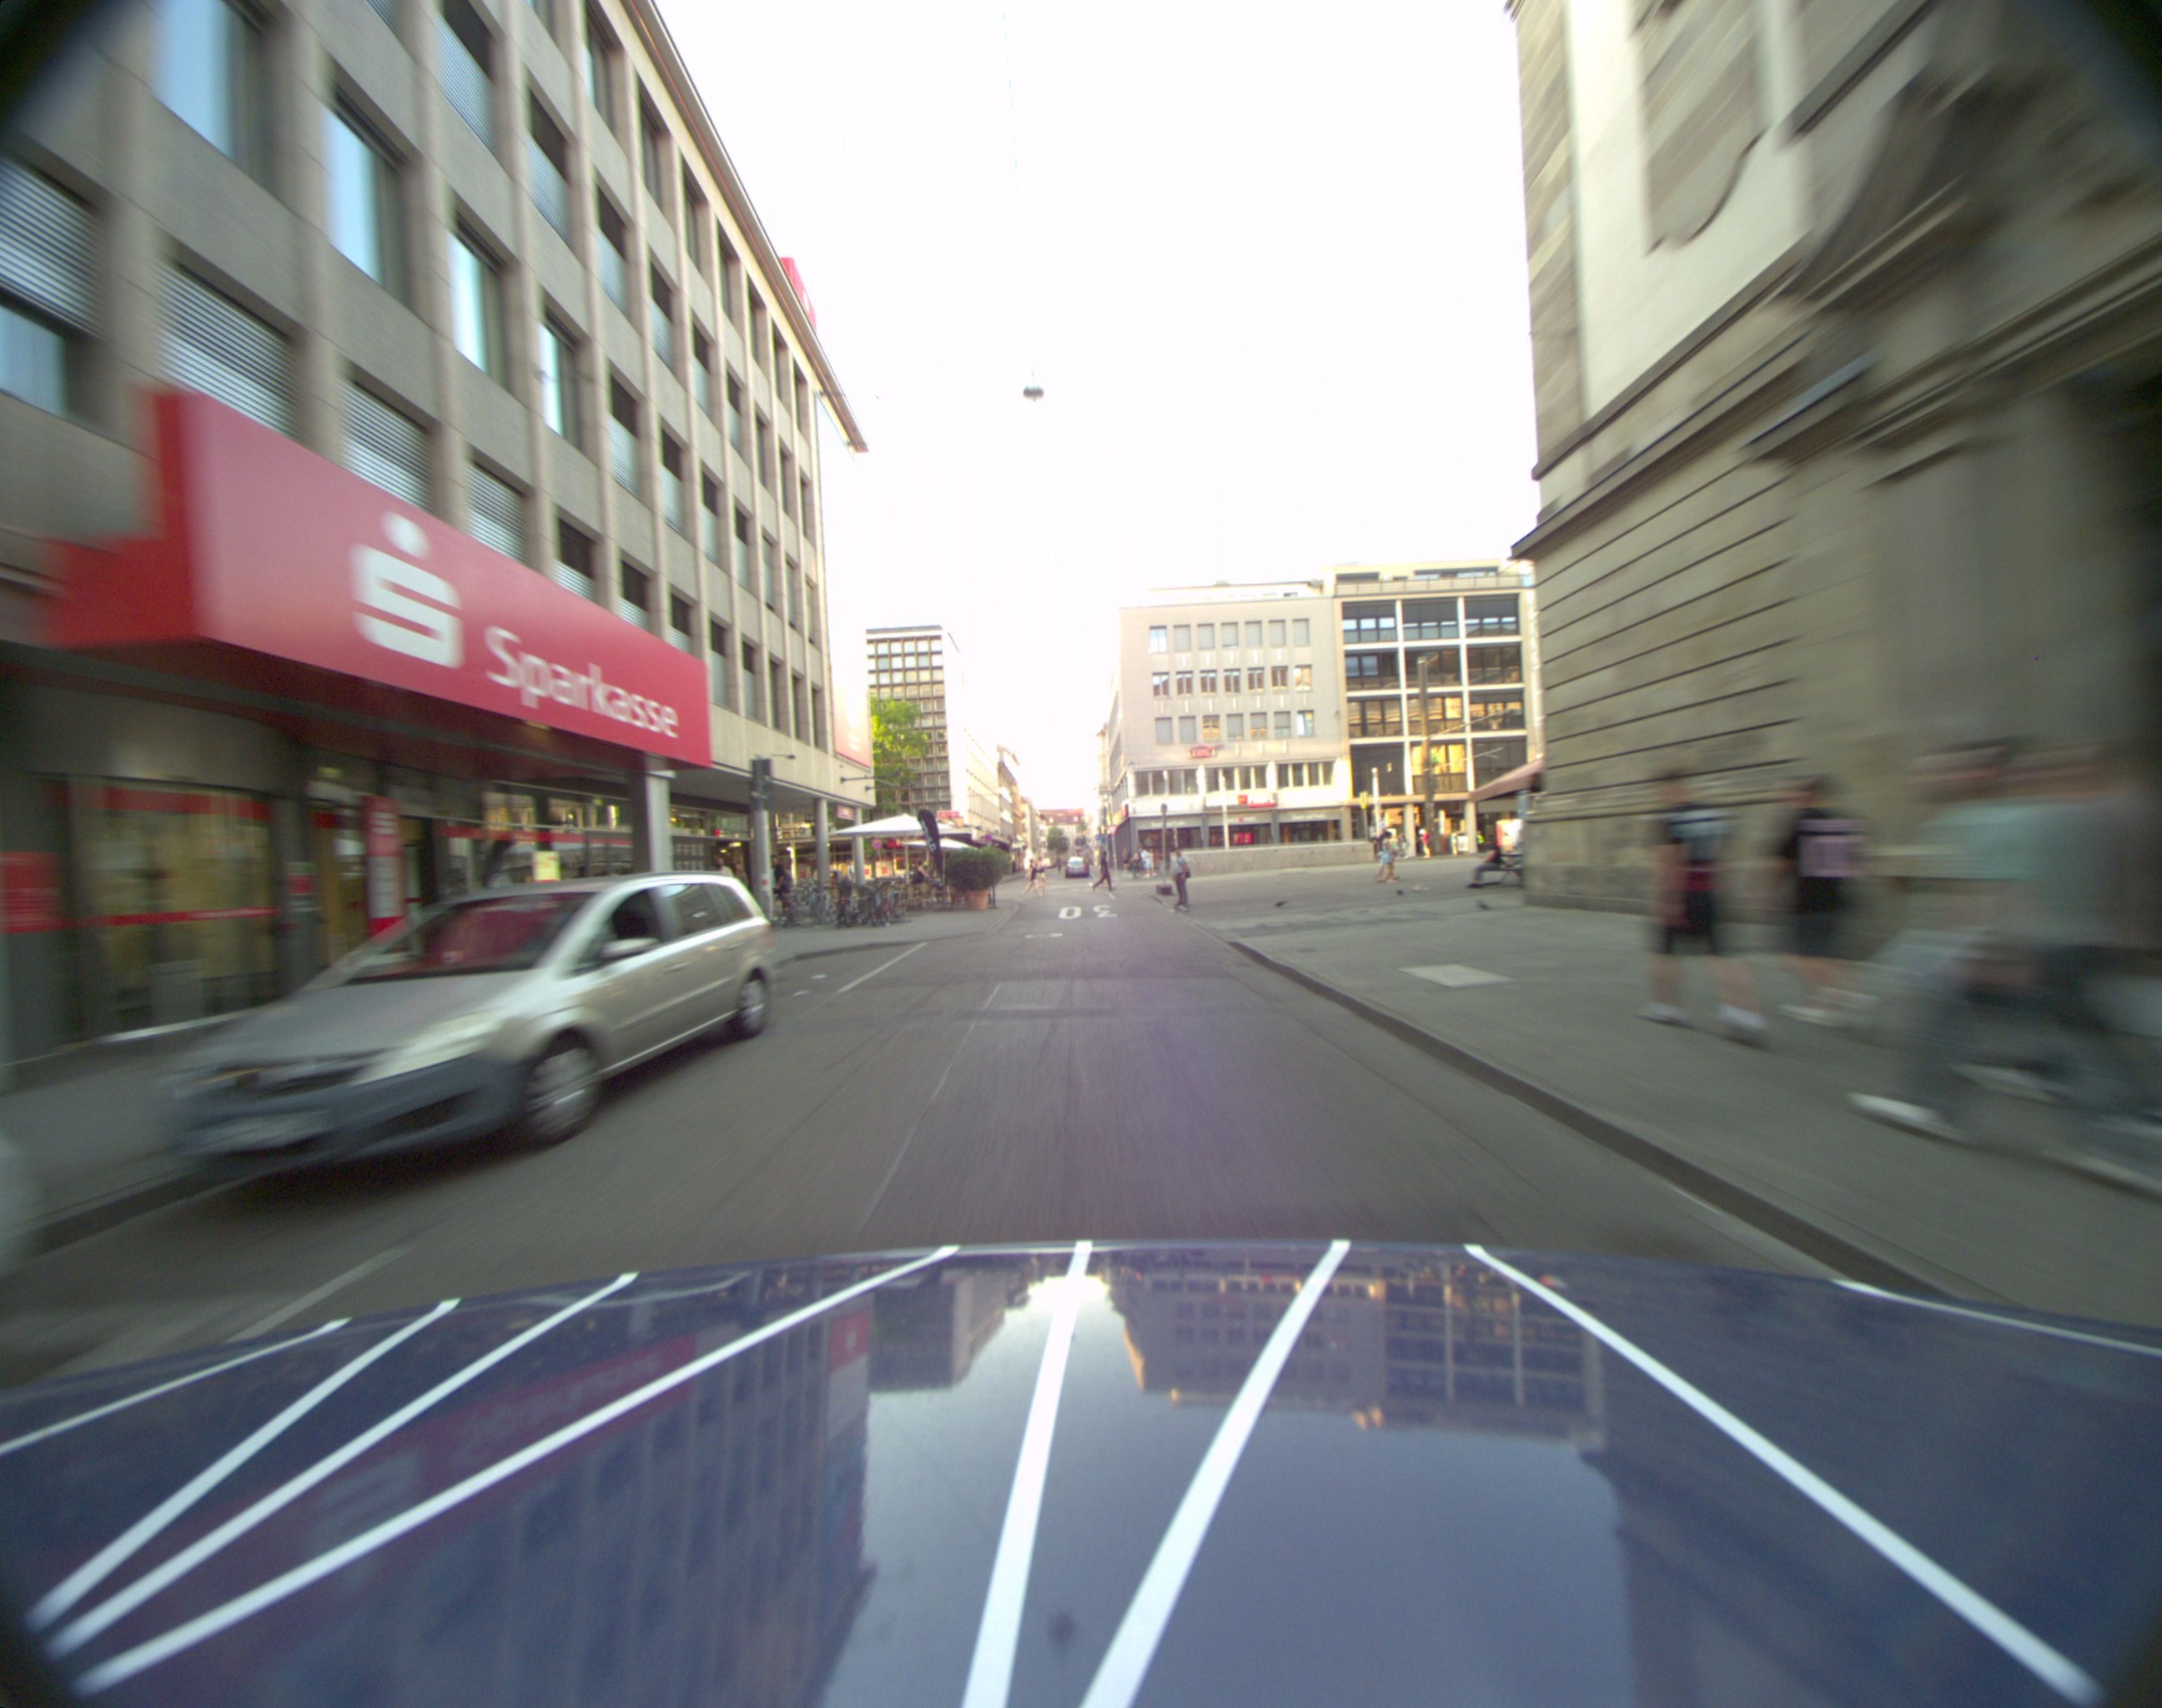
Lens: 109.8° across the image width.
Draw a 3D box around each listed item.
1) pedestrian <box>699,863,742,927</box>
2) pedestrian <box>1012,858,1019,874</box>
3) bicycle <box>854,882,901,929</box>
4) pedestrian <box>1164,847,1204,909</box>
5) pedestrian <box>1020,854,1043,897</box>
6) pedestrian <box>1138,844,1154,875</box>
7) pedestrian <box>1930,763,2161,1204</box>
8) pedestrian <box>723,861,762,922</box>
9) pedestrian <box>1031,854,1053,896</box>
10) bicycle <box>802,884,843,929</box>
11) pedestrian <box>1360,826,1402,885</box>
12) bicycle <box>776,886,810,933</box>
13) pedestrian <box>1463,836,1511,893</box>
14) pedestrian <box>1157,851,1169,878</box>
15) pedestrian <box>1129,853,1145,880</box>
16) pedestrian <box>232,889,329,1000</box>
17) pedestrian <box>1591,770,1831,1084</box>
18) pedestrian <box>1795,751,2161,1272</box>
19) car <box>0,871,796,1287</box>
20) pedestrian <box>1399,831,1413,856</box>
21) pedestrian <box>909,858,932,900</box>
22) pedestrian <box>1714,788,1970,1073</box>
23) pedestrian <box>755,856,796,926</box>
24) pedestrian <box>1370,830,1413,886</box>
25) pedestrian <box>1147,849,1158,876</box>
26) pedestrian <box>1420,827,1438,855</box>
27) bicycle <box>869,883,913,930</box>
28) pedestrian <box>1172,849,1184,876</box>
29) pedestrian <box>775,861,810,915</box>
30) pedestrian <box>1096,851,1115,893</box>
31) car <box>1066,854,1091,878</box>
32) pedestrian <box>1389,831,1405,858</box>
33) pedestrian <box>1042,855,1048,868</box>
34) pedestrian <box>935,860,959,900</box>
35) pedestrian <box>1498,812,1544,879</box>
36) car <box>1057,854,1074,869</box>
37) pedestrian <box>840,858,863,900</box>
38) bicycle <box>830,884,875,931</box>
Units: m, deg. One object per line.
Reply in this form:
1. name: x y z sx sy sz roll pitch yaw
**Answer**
1. pedestrian: -10.160 1.137 21.429 0.799 1.751 0.687 -2 0 -3
2. pedestrian: -7.053 1.318 81.746 0.650 1.652 0.650 -4 1 -1
3. bicycle: -5.011 1.248 18.785 0.383 1.027 1.865 -2 0 8
4. pedestrian: 2.869 0.658 21.184 0.754 1.649 0.742 -3 0 -36
5. pedestrian: -1.978 0.874 30.580 0.796 1.679 0.769 -2 0 2
6. pedestrian: 3.991 0.326 46.604 0.783 1.881 0.642 -3 1 -1
7. pedestrian: 4.409 0.471 3.123 0.731 1.658 0.858 -6 0 2
8. pedestrian: -10.041 1.093 22.567 0.799 1.751 0.687 -3 0 -4
9. pedestrian: -1.600 0.845 31.349 0.796 1.679 0.769 -2 0 2
10. bicycle: -6.698 1.334 19.759 0.383 1.027 1.864 -2 0 0
11. pedestrian: 9.353 0.046 23.719 0.862 1.751 0.745 -5 1 -5
12. bicycle: -7.102 1.347 18.802 0.383 1.027 1.862 -3 0 -10
13. pedestrian: 9.726 0.241 18.239 0.778 1.267 0.787 -6 0 16
14. pedestrian: 5.265 0.687 48.774 0.546 1.698 0.558 -4 1 0
15. pedestrian: 3.257 0.737 44.054 0.676 1.532 0.641 -3 1 -12
16. pedestrian: -12.844 1.427 12.218 0.691 1.651 0.729 -4 1 -12
17. pedestrian: 4.051 0.439 4.973 0.718 1.819 0.870 -6 1 7
18. pedestrian: 3.650 0.526 2.994 0.727 1.732 0.839 -6 0 2
19. car: -3.950 1.040 5.683 1.744 1.589 4.714 -5 0 0
20. pedestrian: 20.984 -0.683 48.998 0.572 1.577 0.492 -4 1 -32
21. pedestrian: -6.620 1.036 31.319 0.797 1.679 0.768 -3 0 -20
22. pedestrian: 4.833 0.462 4.896 0.757 1.632 0.749 -6 1 7
23. pedestrian: -8.617 1.026 21.472 0.799 1.907 0.687 -2 0 -1
24. pedestrian: 9.372 0.122 22.953 0.865 1.581 0.738 -5 1 -5
25. pedestrian: 4.567 0.543 48.440 0.546 1.698 0.558 -4 1 0
26. pedestrian: 21.326 -0.793 46.584 0.709 1.698 0.681 -4 1 5
27. bicycle: -4.662 1.268 18.739 0.330 1.027 1.865 -2 0 8
28. pedestrian: 6.251 0.551 49.027 0.546 1.698 0.558 -4 1 0
29. pedestrian: -9.750 1.139 25.671 0.685 1.751 0.801 -2 0 42
30. pedestrian: 1.033 0.748 31.800 0.732 1.679 0.746 -2 0 2
31. car: -0.220 0.930 59.214 1.824 1.728 4.000 -2 0 -1
32. pedestrian: 20.630 -0.617 49.577 0.671 1.643 0.623 -4 1 -32
33. pedestrian: -4.767 0.953 101.075 0.649 1.651 0.650 -2 0 1
34. pedestrian: -5.483 1.060 31.171 0.796 1.556 0.769 -2 0 -1
35. pedestrian: 12.033 -0.227 20.797 0.687 1.751 0.799 -3 0 -7
36. car: -1.755 0.853 87.369 1.799 1.705 4.000 -2 0 1
37. pedestrian: -9.410 1.023 31.122 0.797 1.679 0.768 -3 0 -21
38. bicycle: -5.627 1.297 18.781 0.383 1.027 1.864 -2 0 4
